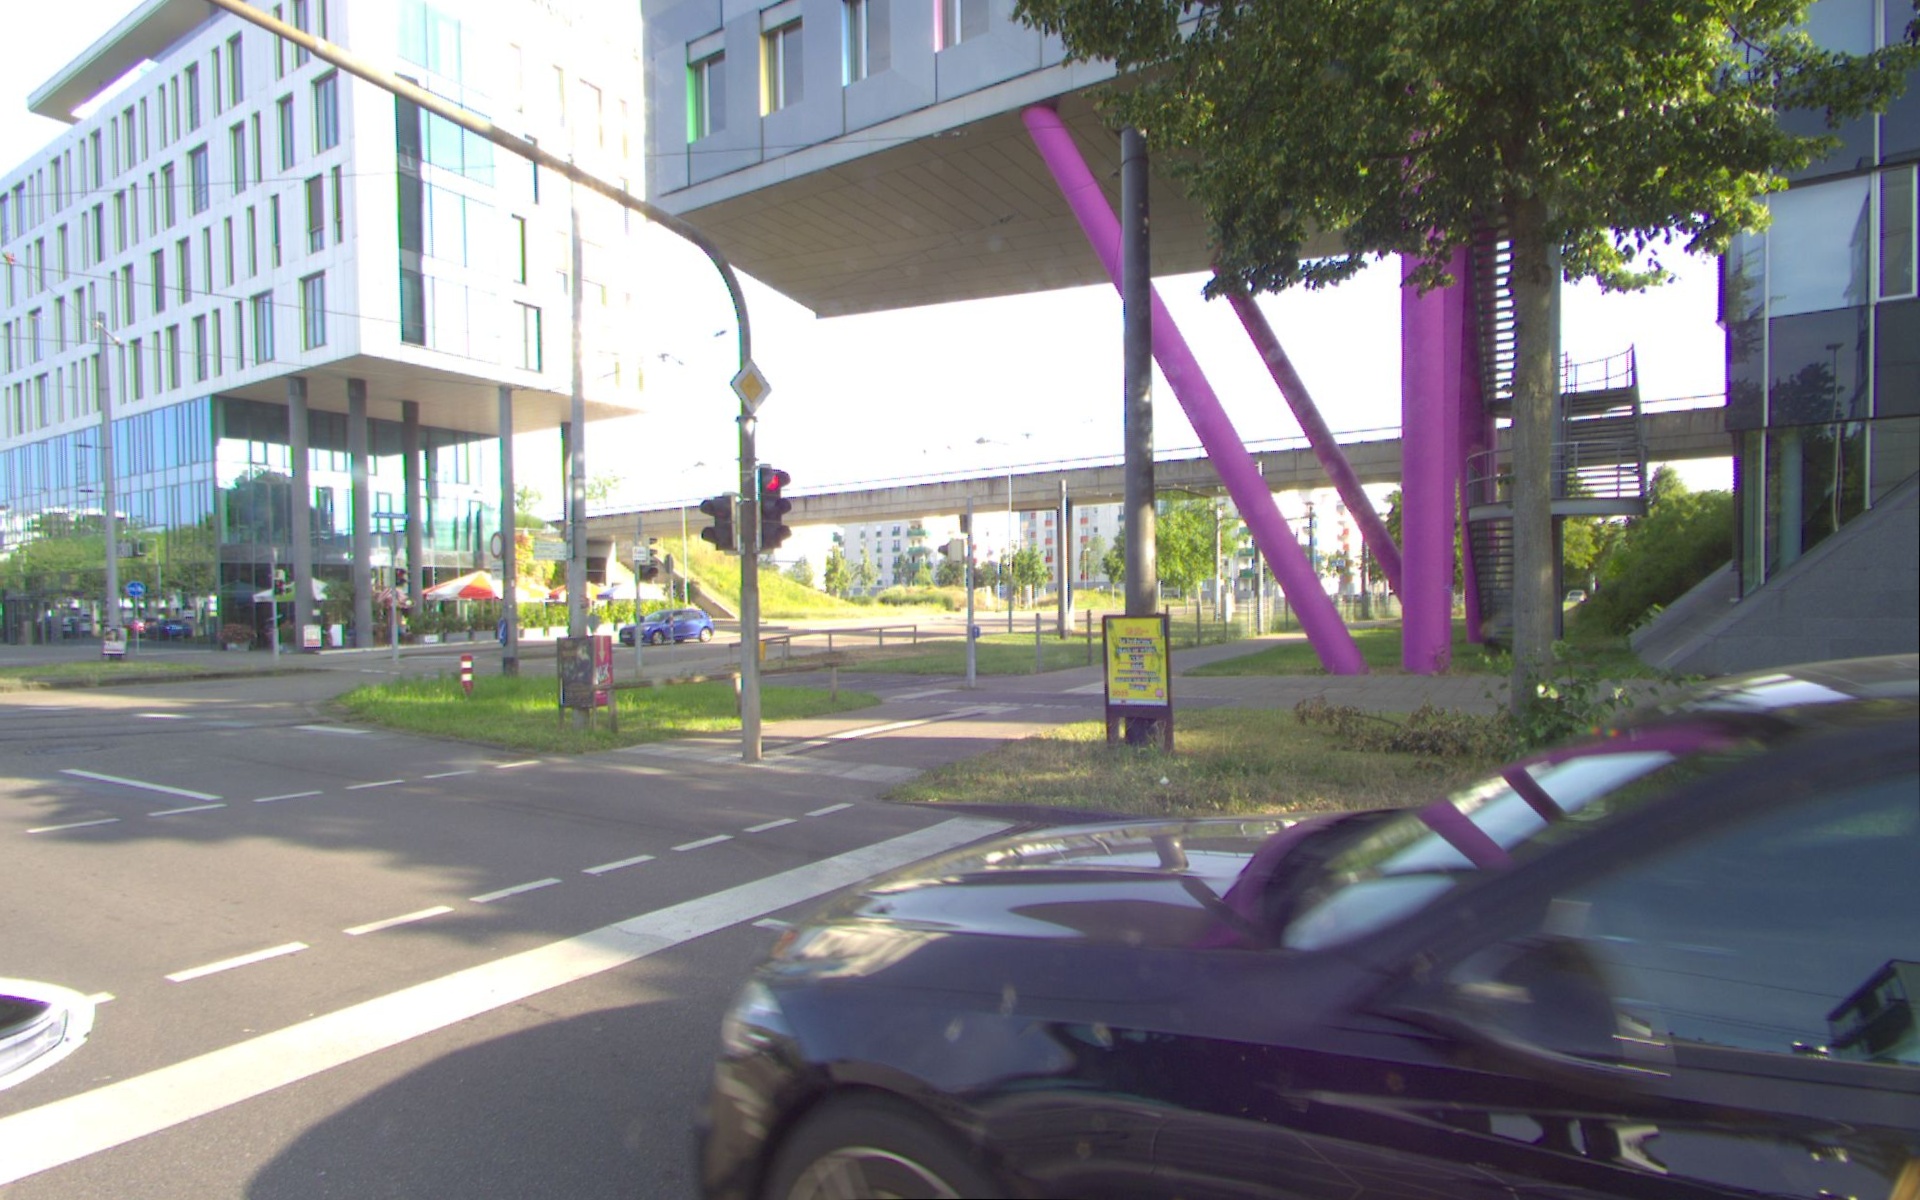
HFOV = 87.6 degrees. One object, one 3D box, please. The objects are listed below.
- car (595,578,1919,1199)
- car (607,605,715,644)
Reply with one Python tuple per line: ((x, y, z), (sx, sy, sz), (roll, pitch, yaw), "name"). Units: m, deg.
((1.590, 0.729, 1.654), (4.492, 1.469, 1.835), (0, -1, 34), "car")
((-12.460, 0.984, 41.943), (1.832, 1.443, 4.176), (0, 1, 31), "car")
